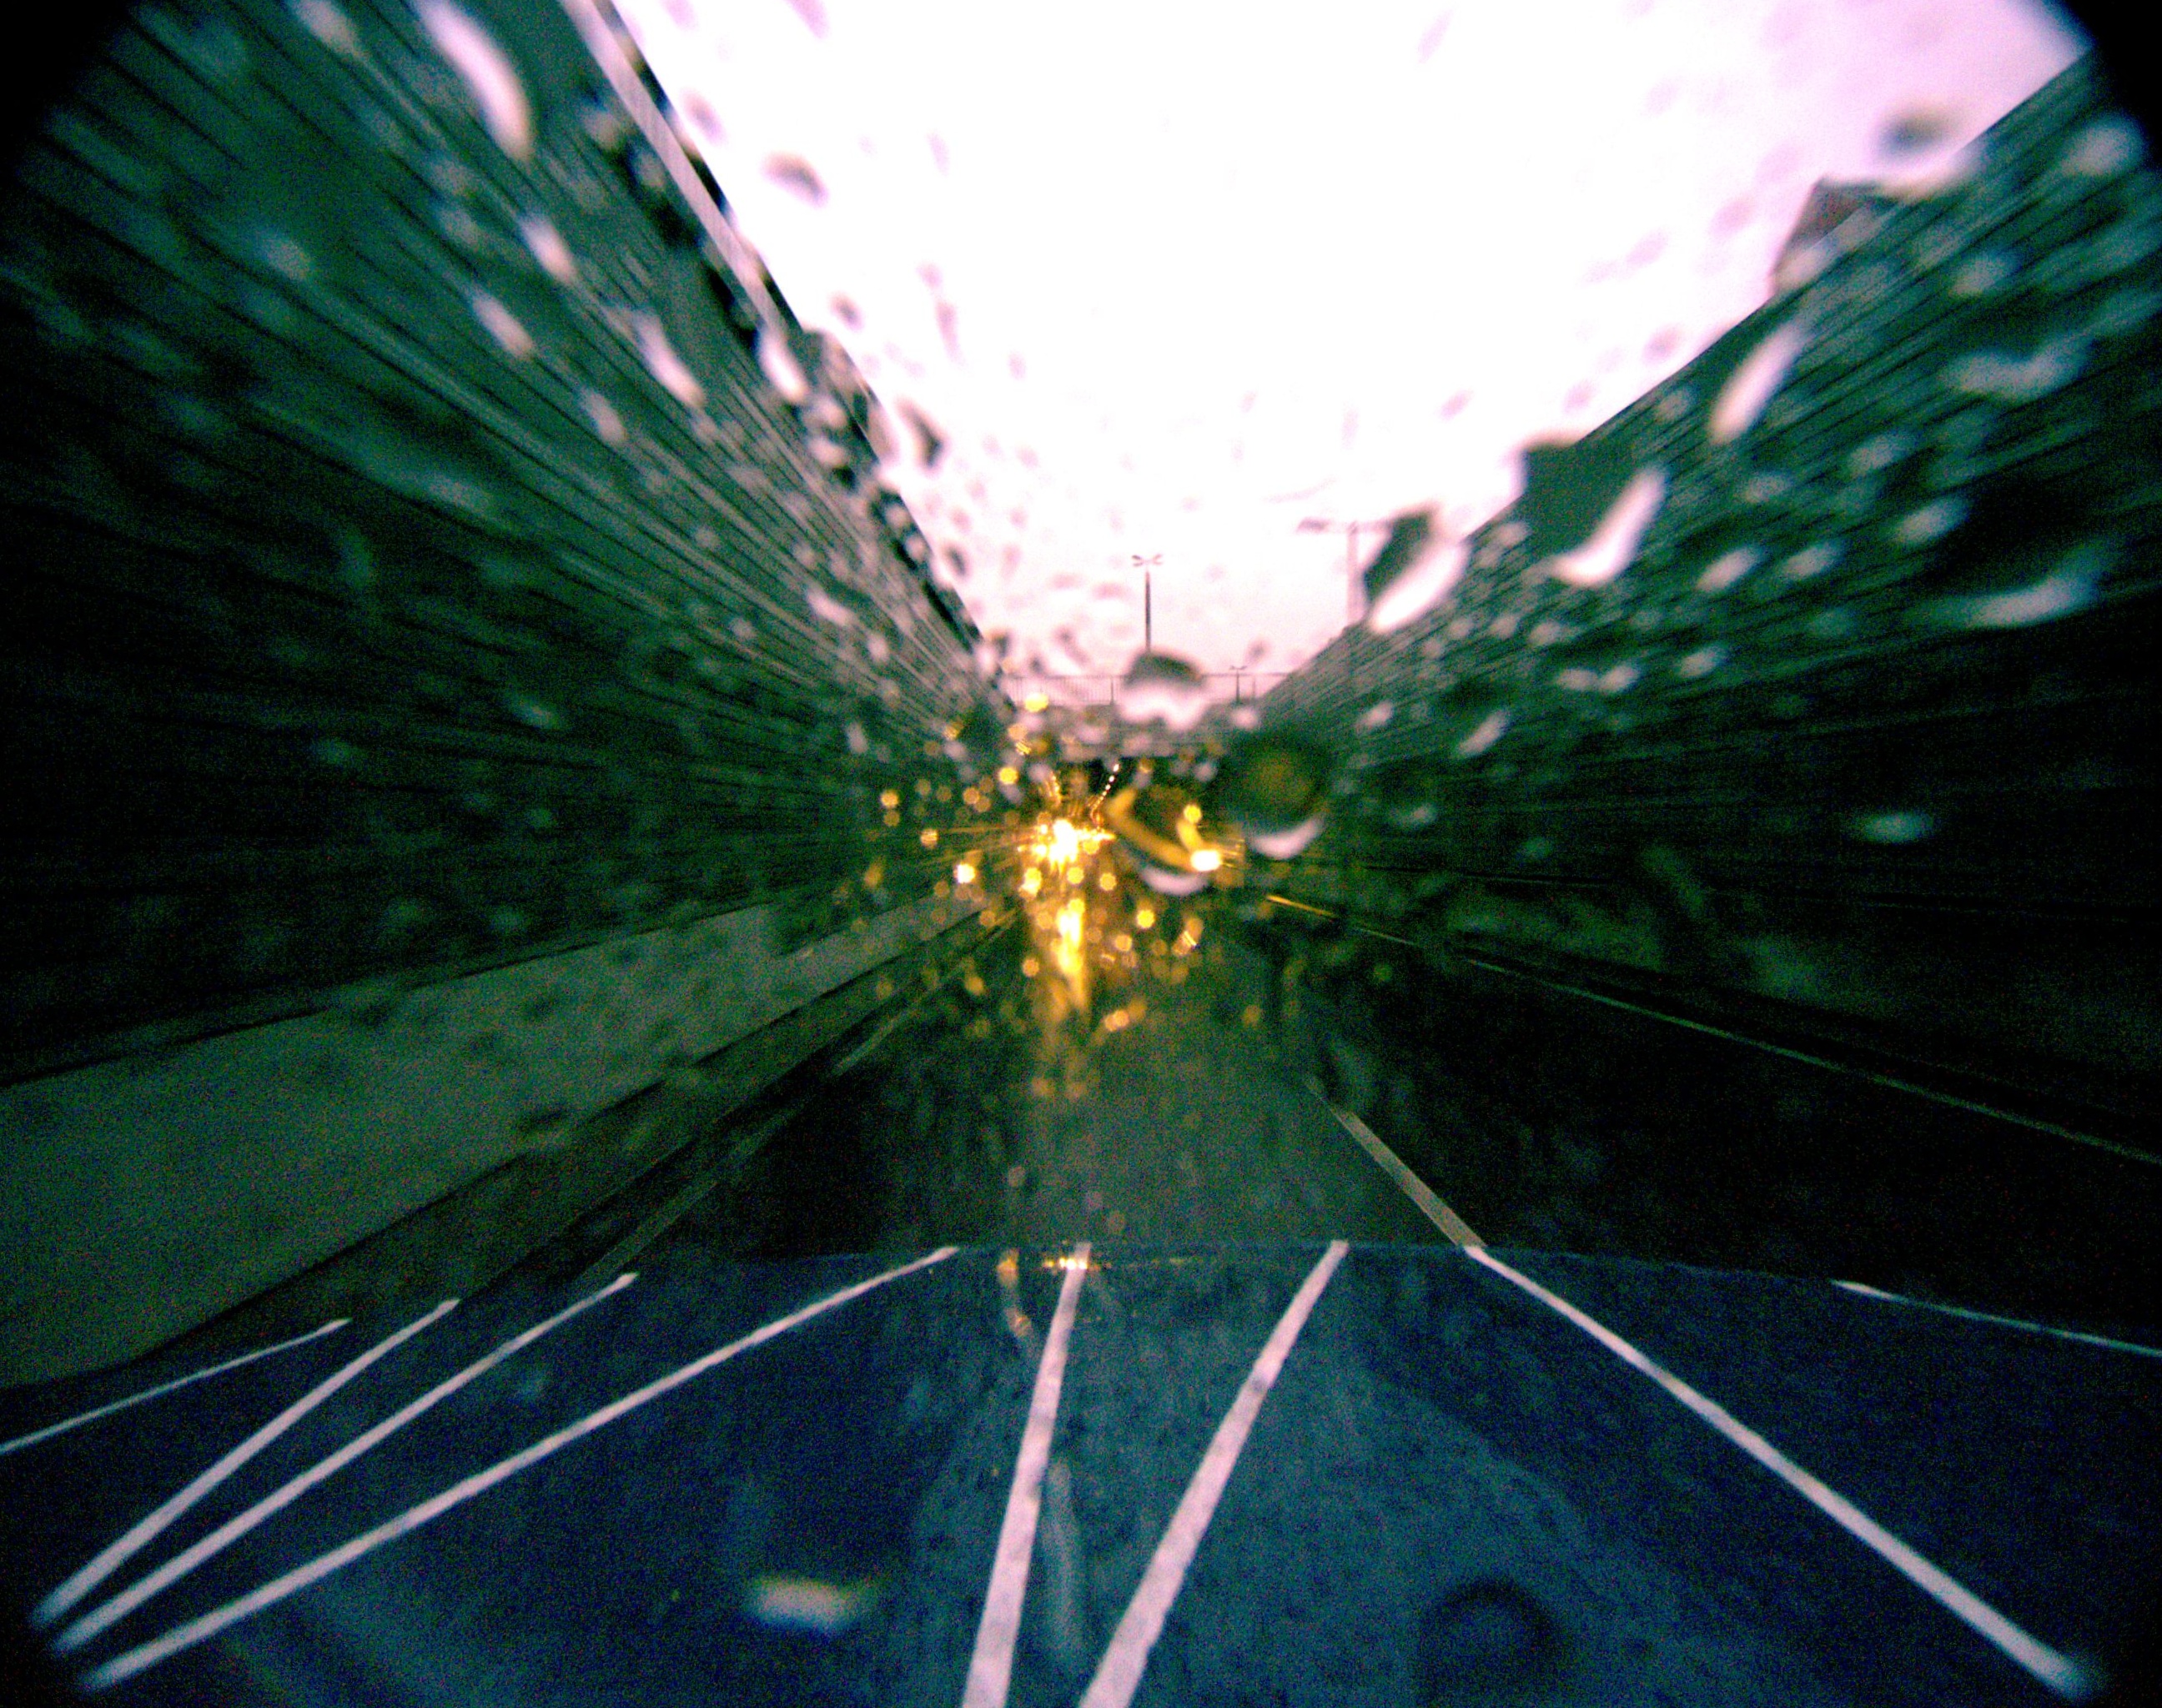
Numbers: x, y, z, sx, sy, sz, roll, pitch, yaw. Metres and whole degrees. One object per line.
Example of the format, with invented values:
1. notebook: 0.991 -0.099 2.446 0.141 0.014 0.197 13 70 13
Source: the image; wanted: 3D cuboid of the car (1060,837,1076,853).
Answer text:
1. car: -1.787 -1.191 100.435 2.031 2.018 4.422 -2 1 -2
